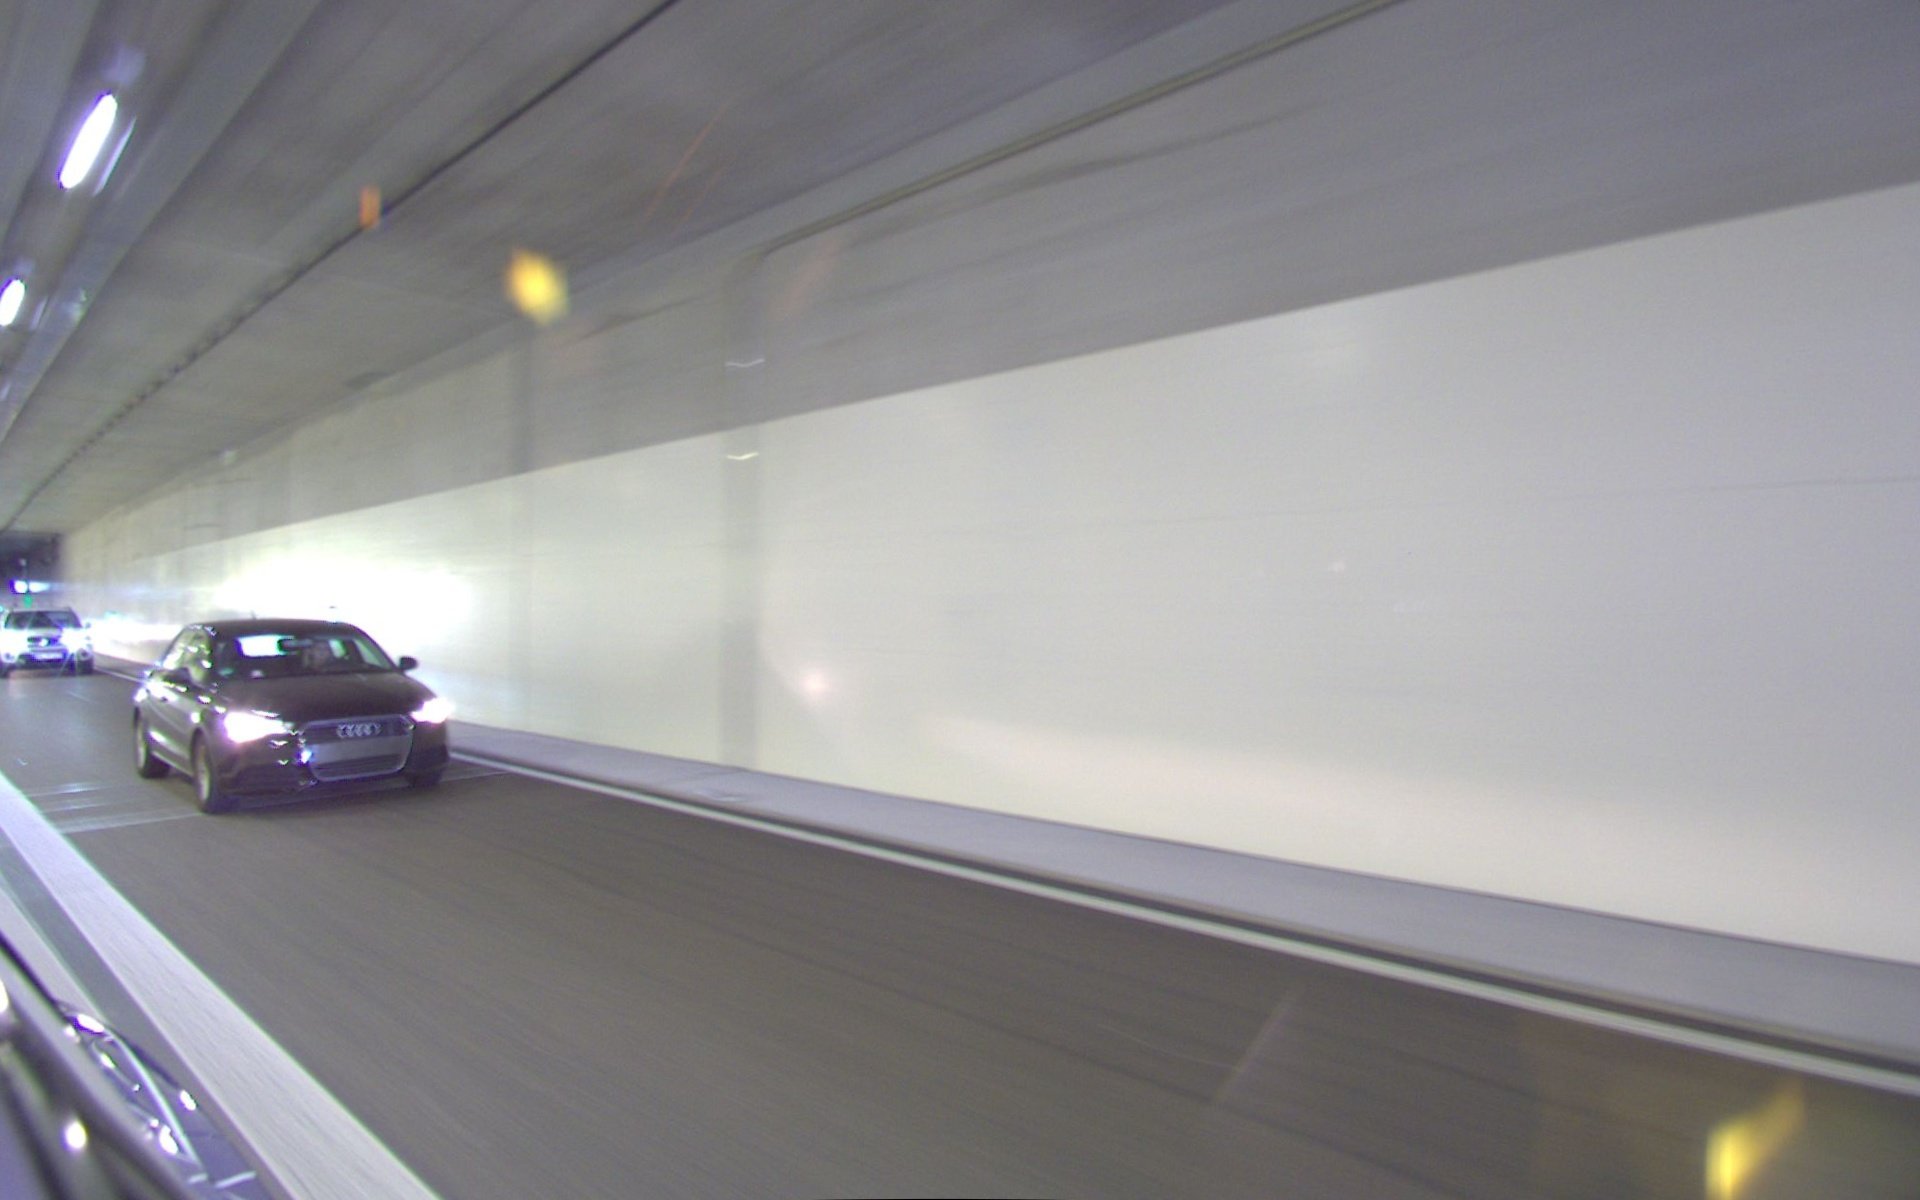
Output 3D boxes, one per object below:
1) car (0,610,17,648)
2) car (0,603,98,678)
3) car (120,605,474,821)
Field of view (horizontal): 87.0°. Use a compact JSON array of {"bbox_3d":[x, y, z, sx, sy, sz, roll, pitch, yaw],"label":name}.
[{"bbox_3d":[-40.094,1.214,41.694,3.682,1.481,1.586,0,3,44],"label":"car"},{"bbox_3d":[-22.946,0.949,25.173,3.831,1.677,1.829,-1,1,43],"label":"car"},{"bbox_3d":[-5.852,0.780,8.748,3.876,1.412,1.638,-1,1,43],"label":"car"}]
